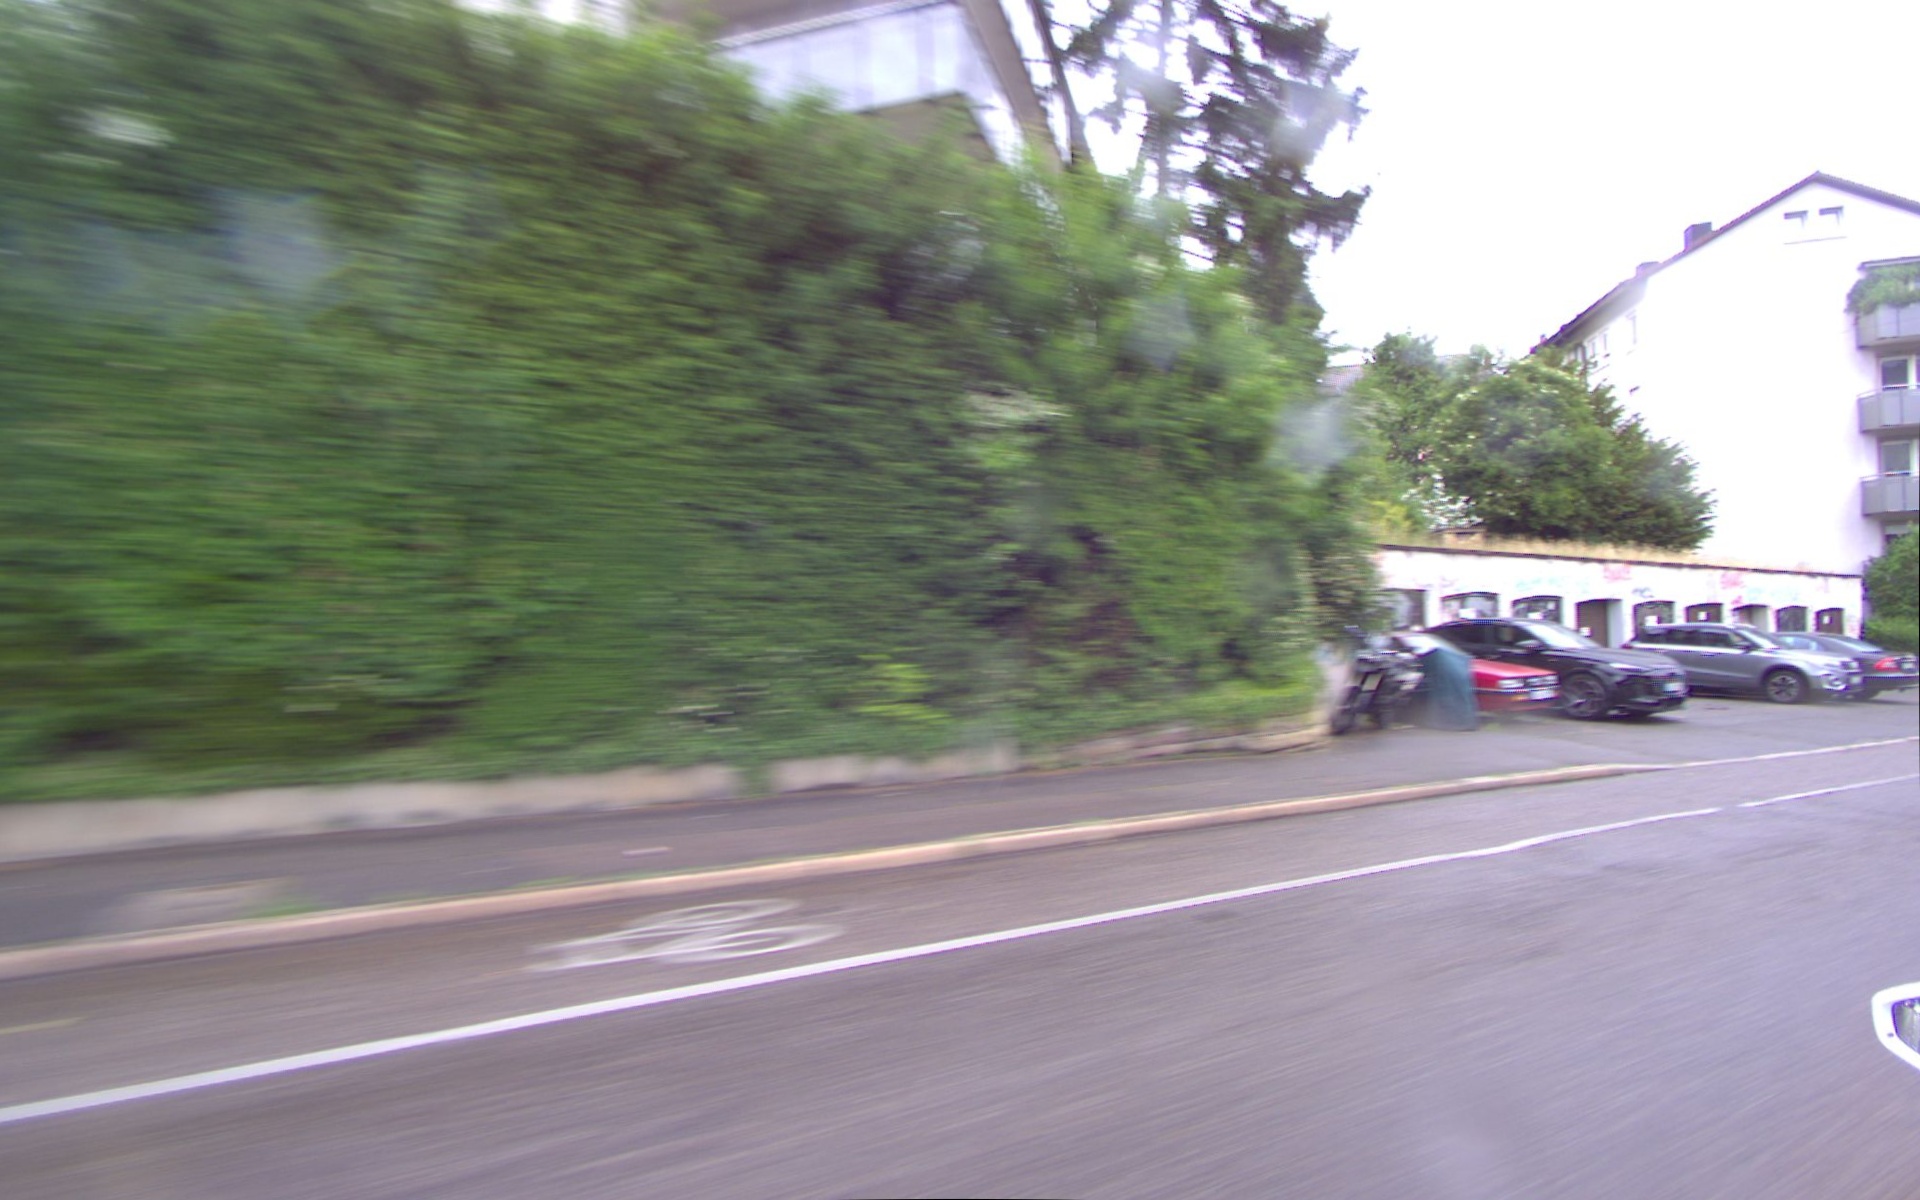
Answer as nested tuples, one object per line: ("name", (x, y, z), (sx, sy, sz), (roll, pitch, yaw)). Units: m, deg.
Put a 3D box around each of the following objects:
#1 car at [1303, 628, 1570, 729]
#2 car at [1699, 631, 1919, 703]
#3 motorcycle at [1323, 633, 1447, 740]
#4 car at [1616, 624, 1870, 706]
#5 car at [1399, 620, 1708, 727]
("car", (7.700, 1.207, 16.499), (1.700, 1.424, 3.607), (2, -2, -35))
("car", (18.938, 1.427, 22.372), (1.761, 1.425, 3.617), (2, -2, -28))
("motorcycle", (5.789, 1.133, 13.604), (2.303, 1.338, 0.611), (2, -2, -41))
("car", (16.743, 1.328, 21.664), (1.861, 1.580, 3.963), (2, -2, -33))
("car", (10.272, 1.190, 17.770), (1.793, 1.623, 4.428), (2, -2, -30))
